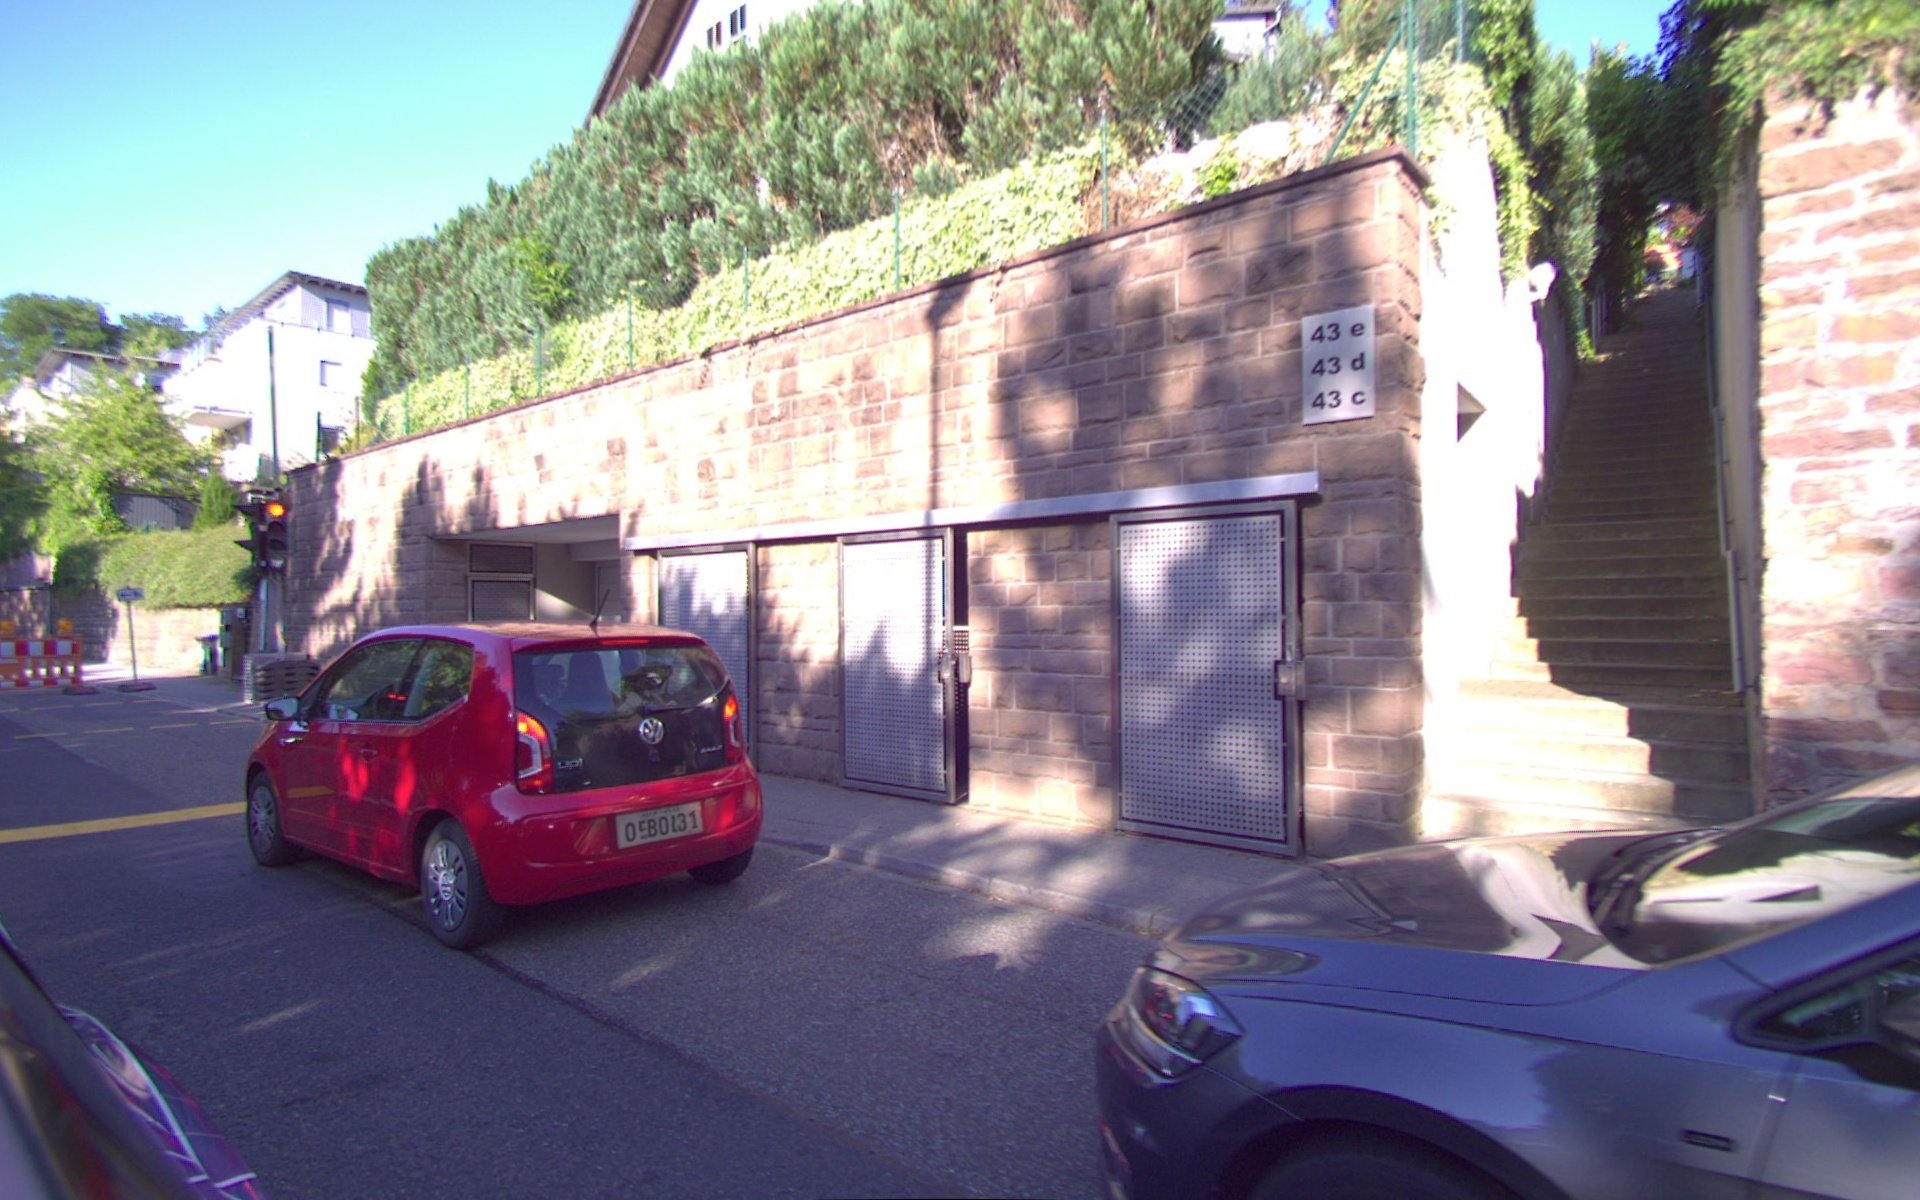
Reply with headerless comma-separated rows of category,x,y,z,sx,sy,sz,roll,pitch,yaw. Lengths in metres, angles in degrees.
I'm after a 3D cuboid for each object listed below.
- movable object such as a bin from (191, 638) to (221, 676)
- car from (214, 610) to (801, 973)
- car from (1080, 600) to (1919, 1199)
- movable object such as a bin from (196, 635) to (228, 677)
movable object such as a bin,-17.067,1.285,22.911,0.392,0.840,0.450,-1,-1,39
car,-2.716,0.790,5.769,3.559,1.432,1.611,-1,-2,39
car,2.245,0.715,1.278,3.927,1.422,1.632,-1,-2,40
movable object such as a bin,-16.697,1.248,22.601,0.500,0.890,0.452,-1,0,39
